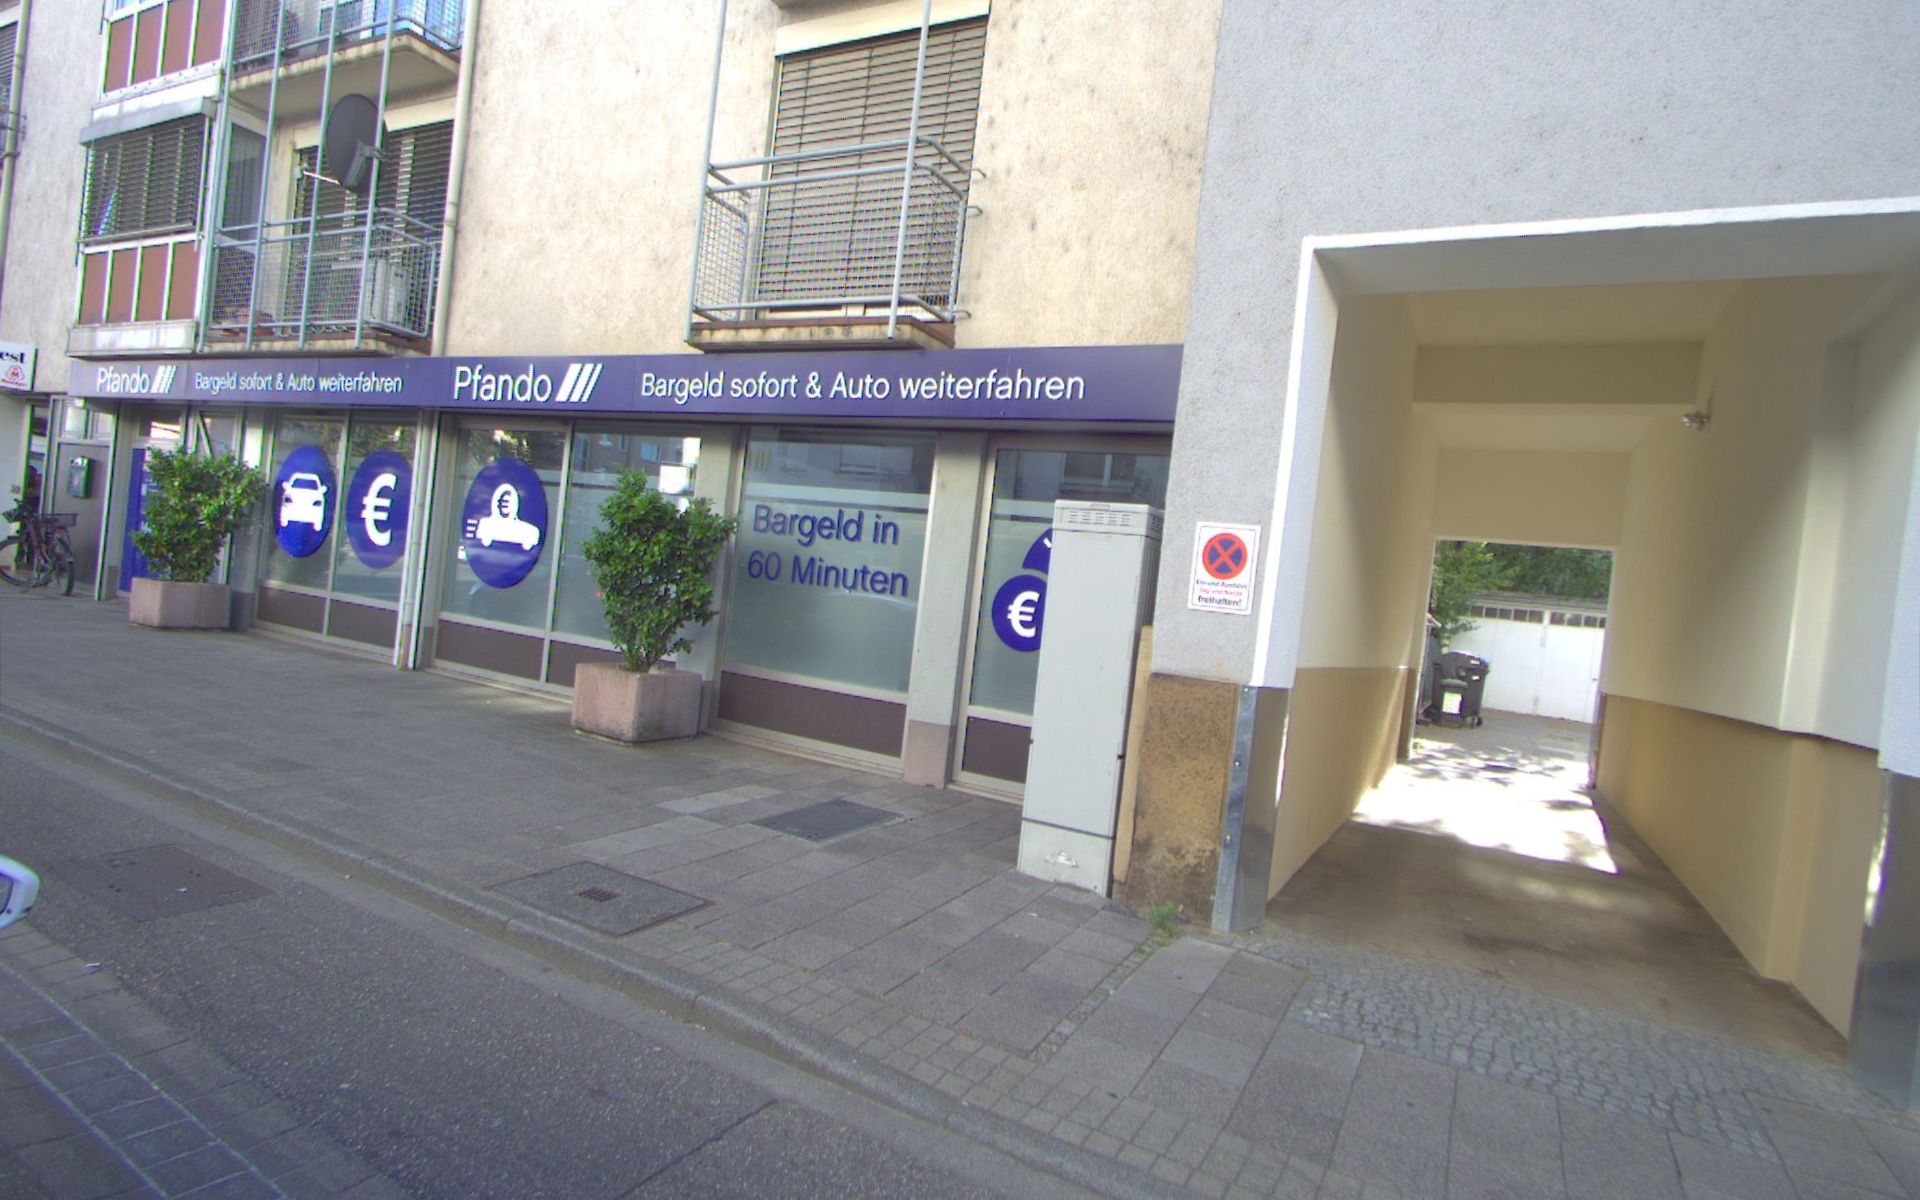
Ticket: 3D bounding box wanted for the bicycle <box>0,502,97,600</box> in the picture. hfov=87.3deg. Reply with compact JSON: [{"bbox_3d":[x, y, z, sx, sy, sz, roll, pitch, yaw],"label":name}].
[{"bbox_3d":[-11.834,-0.649,12.871,1.779,1.086,0.531,7,1,28],"label":"bicycle"}]
